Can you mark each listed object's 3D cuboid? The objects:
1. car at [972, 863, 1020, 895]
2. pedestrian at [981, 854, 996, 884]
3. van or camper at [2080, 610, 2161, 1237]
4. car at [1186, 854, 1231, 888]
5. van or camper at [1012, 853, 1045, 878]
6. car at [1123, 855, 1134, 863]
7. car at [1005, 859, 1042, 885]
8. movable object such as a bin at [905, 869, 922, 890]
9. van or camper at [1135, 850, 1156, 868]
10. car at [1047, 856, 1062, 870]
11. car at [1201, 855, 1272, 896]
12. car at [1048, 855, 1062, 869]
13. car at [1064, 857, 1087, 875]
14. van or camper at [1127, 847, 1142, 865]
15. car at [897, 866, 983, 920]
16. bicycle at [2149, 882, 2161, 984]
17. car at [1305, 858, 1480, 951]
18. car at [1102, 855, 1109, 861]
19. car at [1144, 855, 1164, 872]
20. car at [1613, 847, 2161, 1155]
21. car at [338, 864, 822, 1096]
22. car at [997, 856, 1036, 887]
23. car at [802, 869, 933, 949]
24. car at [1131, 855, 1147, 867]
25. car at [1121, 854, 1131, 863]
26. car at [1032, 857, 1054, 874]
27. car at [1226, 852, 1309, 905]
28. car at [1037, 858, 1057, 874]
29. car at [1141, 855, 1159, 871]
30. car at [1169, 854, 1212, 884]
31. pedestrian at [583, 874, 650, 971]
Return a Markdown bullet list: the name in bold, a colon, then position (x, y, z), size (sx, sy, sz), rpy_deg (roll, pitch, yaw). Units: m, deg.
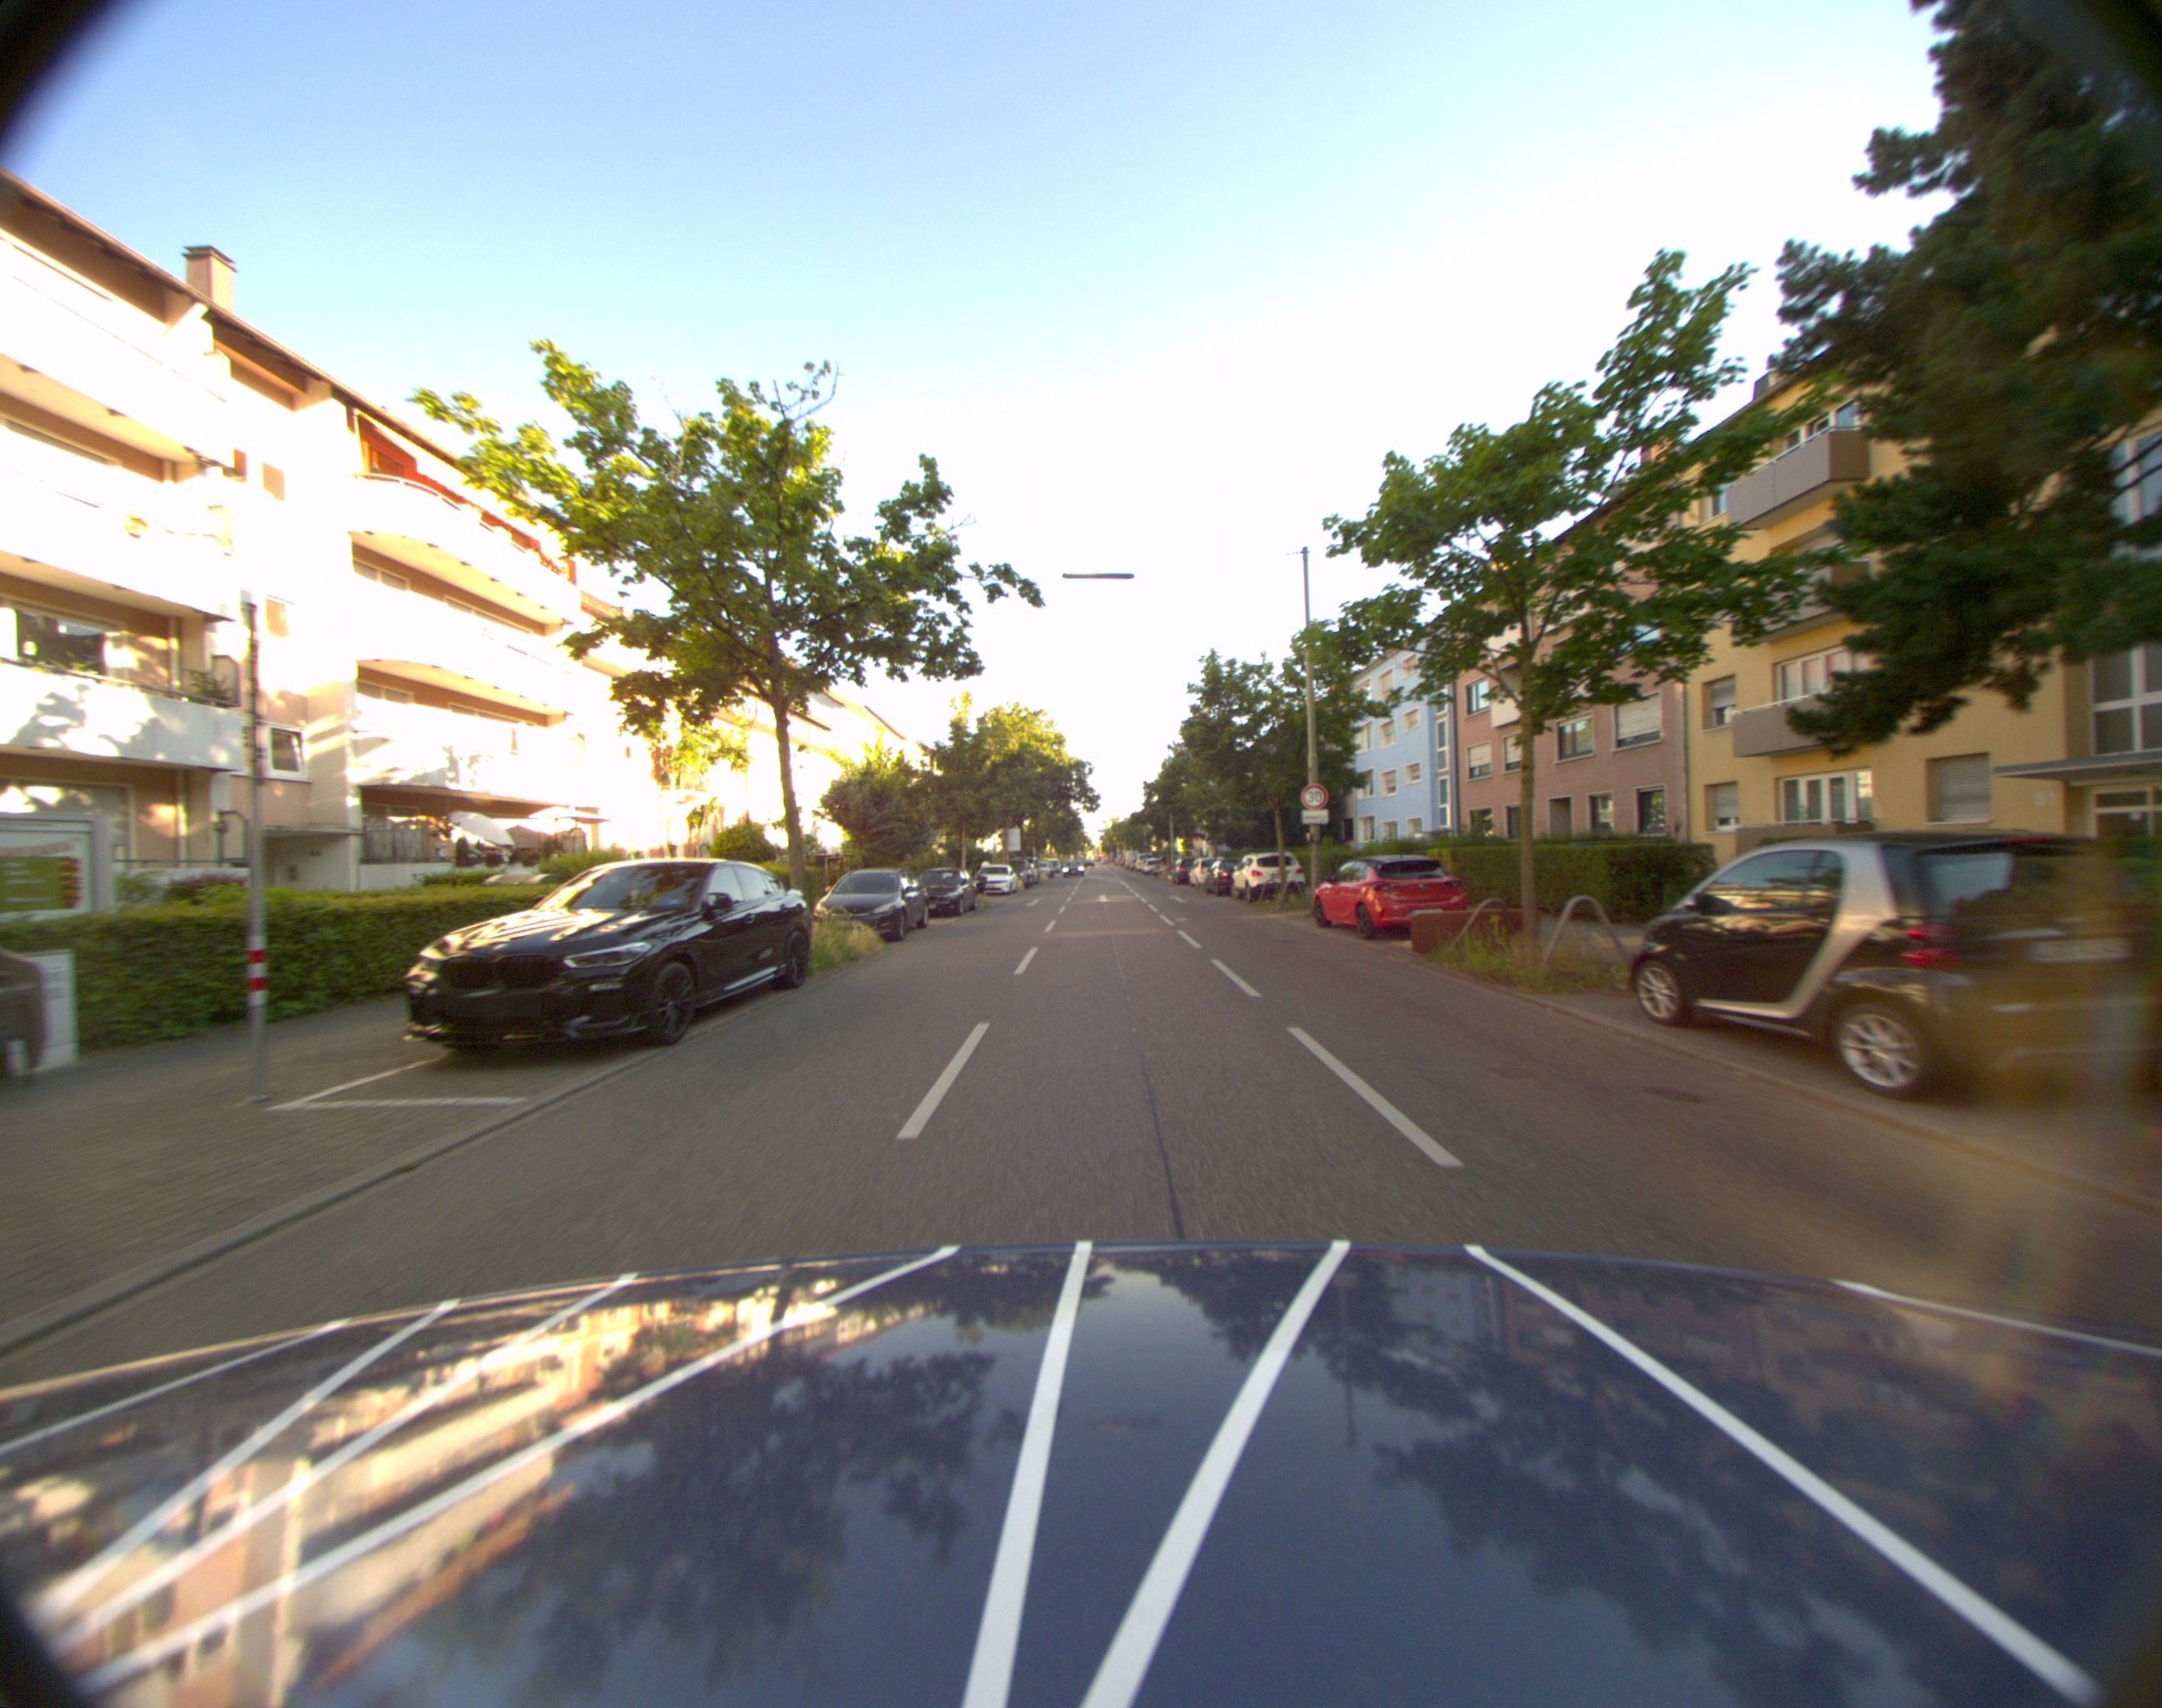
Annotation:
- **car**: position (-4.062, 1.175, 37.041), size (1.766, 1.394, 4.334), rpy_deg (-1, 0, 1)
- **pedestrian**: position (-5.720, 0.906, 46.876), size (0.669, 1.773, 0.764), rpy_deg (-5, 3, 1)
- **van or camper**: position (5.622, 0.250, 0.418), size (2.041, 2.648, 6.015), rpy_deg (-4, 0, -1)
- **car**: position (6.327, 0.812, 37.982), size (1.595, 1.483, 3.641), rpy_deg (-3, 1, 0)
- **van or camper**: position (-4.034, 0.912, 59.499), size (1.998, 1.831, 5.260), rpy_deg (-2, -1, 1)
- **car**: position (8.451, 0.904, 135.559), size (1.762, 1.439, 3.787), rpy_deg (-2, 0, 6)
- **car**: position (-3.729, 1.143, 49.965), size (1.788, 1.495, 4.831), rpy_deg (-2, 0, 3)
- **movable object such as a bin**: position (-8.878, 1.348, 40.189), size (0.727, 1.052, 0.684), rpy_deg (2, 0, 0)
- **van or camper**: position (7.340, 0.558, 86.789), size (1.809, 2.002, 4.864), rpy_deg (-2, 0, 0)
- **car**: position (-3.197, 1.076, 91.882), size (1.798, 1.577, 3.999), rpy_deg (-1, 0, -2)
- **car**: position (6.183, 0.805, 30.716), size (1.998, 1.439, 4.458), rpy_deg (-2, 0, 1)
- **car**: position (-3.300, 0.958, 97.274), size (1.798, 1.761, 3.999), rpy_deg (-1, 0, -2)
- **car**: position (-0.485, 1.099, 69.116), size (1.999, 1.525, 4.000), rpy_deg (-2, 0, 0)
- **van or camper**: position (7.657, 0.253, 109.395), size (1.917, 2.528, 5.335), rpy_deg (-2, 0, 1)
- **car**: position (-4.297, 1.152, 23.851), size (1.774, 1.440, 4.484), rpy_deg (-1, 0, 1)
- **bicycle**: position (10.700, 0.653, 6.586), size (1.940, 0.920, 0.582), rpy_deg (-4, 0, 2)
- **car**: position (5.691, 0.841, 14.457), size (1.721, 1.443, 3.923), rpy_deg (-3, 0, 1)
- **car**: position (6.290, 1.121, 198.991), size (1.726, 1.473, 3.956), rpy_deg (-1, 0, 0)
- **car**: position (6.824, 0.857, 71.424), size (1.684, 1.434, 3.882), rpy_deg (-3, 0, 3)
- **car**: position (5.415, 0.774, 5.353), size (1.407, 1.539, 2.762), rpy_deg (-4, 0, 3)
- **car**: position (-4.616, 0.991, 8.166), size (1.953, 1.645, 4.796), rpy_deg (-2, 0, 0)
- **car**: position (-3.763, 0.986, 45.021), size (1.921, 1.672, 4.707), rpy_deg (0, 0, 0)
- **car**: position (-4.596, 1.117, 17.049), size (1.721, 1.463, 4.431), rpy_deg (-1, 0, -1)
- **car**: position (7.246, 0.860, 95.502), size (1.808, 1.489, 3.957), rpy_deg (-2, 0, 3)
- **car**: position (9.041, 0.895, 153.541), size (1.808, 1.587, 3.957), rpy_deg (-2, 0, 3)
- **car**: position (-3.417, 0.996, 68.208), size (1.738, 1.435, 4.305), rpy_deg (-1, -1, 0)
- **car**: position (6.160, 0.760, 25.578), size (1.781, 1.579, 4.186), rpy_deg (-3, 0, 1)
- **car**: position (-3.283, 1.170, 73.509), size (1.738, 1.435, 4.339), rpy_deg (-1, -1, 0)
- **car**: position (6.906, 0.868, 76.540), size (1.577, 1.460, 3.491), rpy_deg (-3, 0, 3)
- **car**: position (6.156, 0.805, 43.122), size (1.842, 1.508, 4.316), rpy_deg (-3, 0, 2)
- **pedestrian**: position (-8.004, 1.164, 13.127), size (0.748, 1.606, 0.579), rpy_deg (-2, 0, -1)
